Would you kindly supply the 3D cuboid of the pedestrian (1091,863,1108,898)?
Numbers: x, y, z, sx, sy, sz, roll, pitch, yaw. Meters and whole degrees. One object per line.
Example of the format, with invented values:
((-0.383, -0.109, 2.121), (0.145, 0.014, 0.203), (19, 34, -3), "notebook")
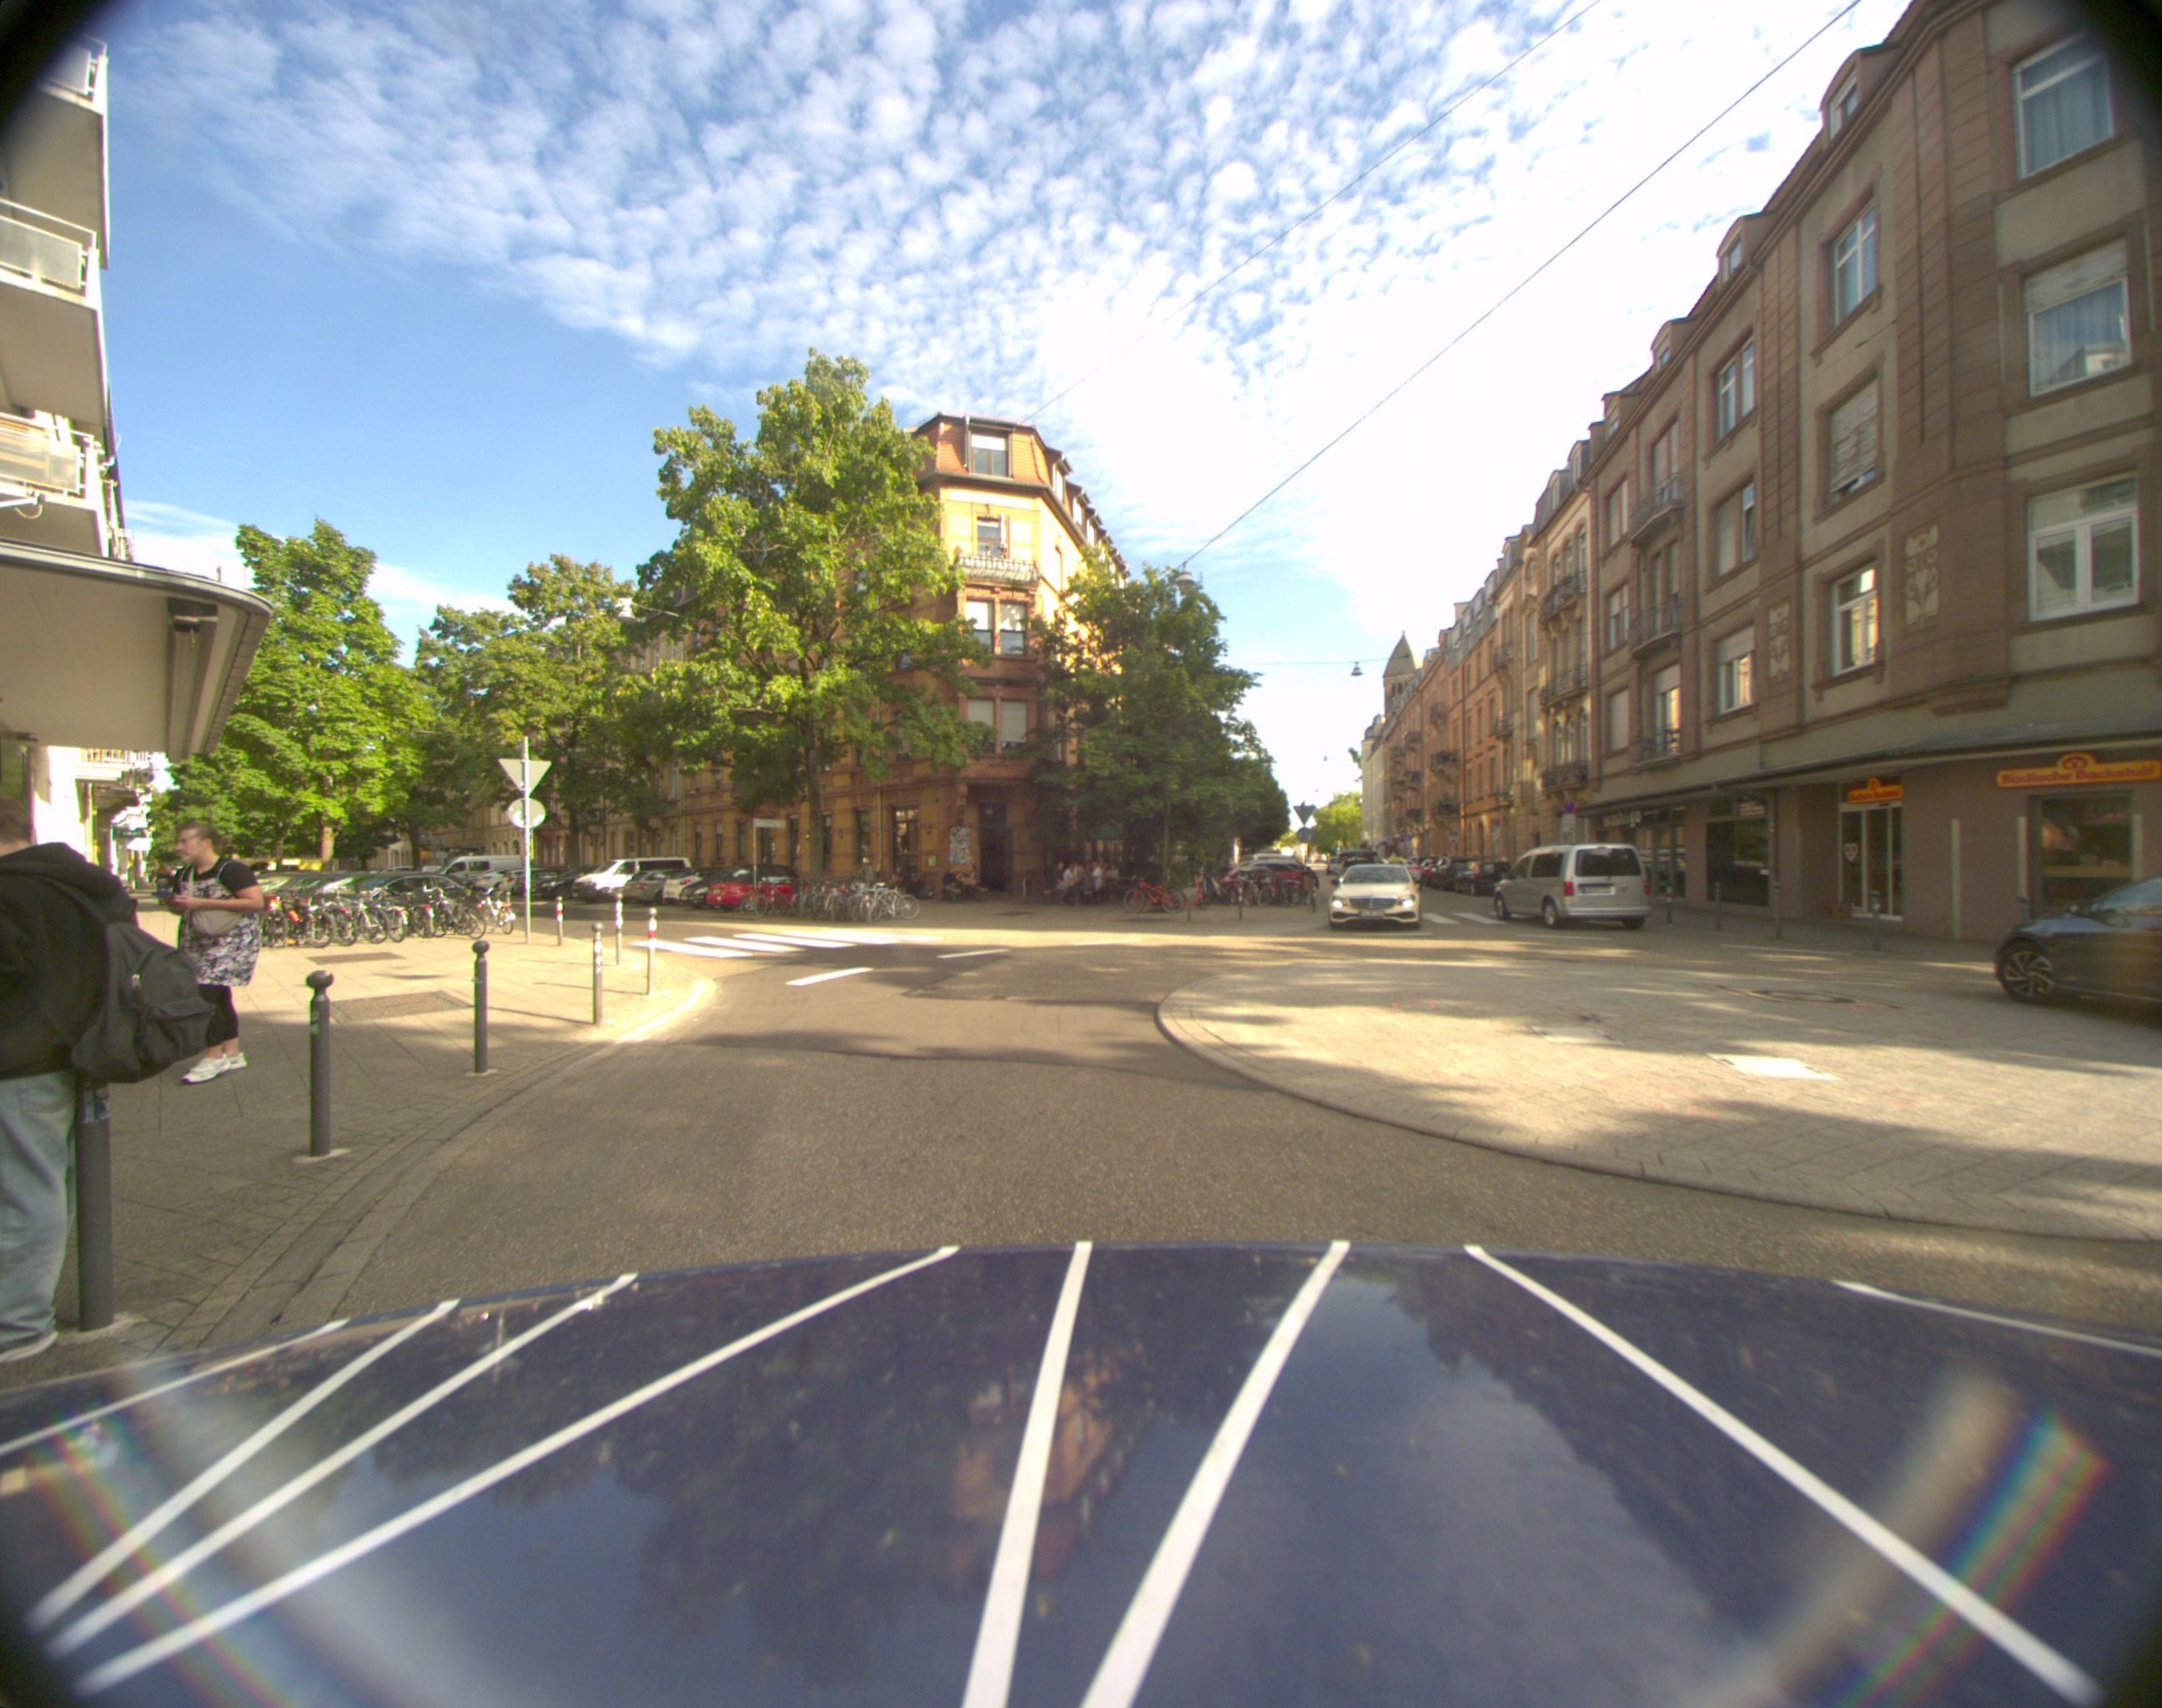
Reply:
((0.674, 0.957, 27.661), (0.548, 1.225, 0.621), (0, 1, -8), "pedestrian")

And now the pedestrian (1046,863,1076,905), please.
((-0.670, 0.978, 25.282), (0.671, 1.371, 0.715), (-1, 1, -40), "pedestrian")

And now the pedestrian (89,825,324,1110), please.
((-5.796, 0.693, 5.096), (0.843, 1.743, 0.612), (0, 0, -25), "pedestrian")

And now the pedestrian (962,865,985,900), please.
((-3.943, 1.038, 27.919), (0.643, 1.252, 0.510), (-3, 3, -42), "pedestrian")

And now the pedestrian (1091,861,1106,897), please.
((0.663, 0.936, 28.595), (0.467, 1.319, 0.621), (0, 1, -8), "pedestrian")

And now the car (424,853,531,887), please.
((-41.485, 1.061, 52.343), (1.994, 2.188, 5.494), (-2, -1, 41), "car")

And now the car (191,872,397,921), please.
((-26.577, 1.377, 25.919), (1.747, 1.486, 4.635), (-1, -1, 13), "car")

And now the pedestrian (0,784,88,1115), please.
((-6.941, 0.572, 4.461), (0.864, 2.001, 1.033), (1, -1, -16), "pedestrian")

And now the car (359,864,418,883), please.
((-67.692, 1.856, 74.320), (1.824, 1.721, 4.008), (-2, -1, 40), "car")

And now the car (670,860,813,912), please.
((-12.428, 1.120, 28.009), (4.320, 1.560, 2.001), (-3, 1, -43), "car")

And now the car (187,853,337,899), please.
((-41.596, 1.119, 38.803), (2.145, 2.207, 4.815), (-1, -1, 9), "car")

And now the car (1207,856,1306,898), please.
((7.085, 0.919, 30.840), (3.587, 1.606, 1.512), (2, 0, -7), "car")

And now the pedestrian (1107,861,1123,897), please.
((1.247, 0.911, 28.123), (0.467, 1.319, 0.621), (0, 1, -8), "pedestrian")

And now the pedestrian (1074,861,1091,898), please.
((0.050, 0.924, 27.554), (0.548, 1.293, 0.621), (0, 1, -8), "pedestrian")

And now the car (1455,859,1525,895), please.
((16.865, 0.929, 31.510), (1.721, 1.360, 3.834), (-2, -1, 16), "car")

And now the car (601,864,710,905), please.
((-18.389, 1.264, 32.930), (1.665, 1.450, 3.714), (0, 3, 42), "car")

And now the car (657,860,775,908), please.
((-14.334, 1.127, 29.951), (1.856, 1.711, 3.716), (-2, -1, 42), "car")

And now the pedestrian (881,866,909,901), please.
((-7.029, 1.107, 28.728), (0.627, 1.278, 0.770), (-1, 2, 39), "pedestrian")

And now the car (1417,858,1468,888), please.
((19.523, 0.980, 41.199), (1.760, 1.487, 4.138), (-2, -1, 15), "car")

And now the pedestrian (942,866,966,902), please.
((-4.584, 1.076, 27.452), (0.643, 1.218, 0.510), (-3, 3, -42), "pedestrian")

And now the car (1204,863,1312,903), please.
((6.568, 1.063, 28.380), (3.588, 1.372, 1.512), (2, 0, -10), "car")

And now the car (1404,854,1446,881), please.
((21.404, 0.817, 47.421), (1.759, 1.588, 4.347), (-2, -1, 16), "car")

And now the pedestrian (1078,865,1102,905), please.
((0.317, 1.014, 25.153), (0.728, 1.307, 0.521), (-2, 0, 4), "pedestrian")

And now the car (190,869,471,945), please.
((-16.365, 1.108, 16.824), (1.806, 1.446, 4.009), (0, -2, 27), "car")

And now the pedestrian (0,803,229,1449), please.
((-3.326, 0.740, 2.307), (0.715, 1.786, 0.631), (3, 0, -19), "pedestrian")

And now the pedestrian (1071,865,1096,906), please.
((0.091, 1.014, 24.650), (0.728, 1.307, 0.521), (-2, 0, 4), "pedestrian")

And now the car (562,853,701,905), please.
((-20.348, 1.059, 34.613), (2.041, 1.978, 4.920), (0, 3, 38), "car")

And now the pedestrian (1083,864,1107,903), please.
((0.477, 0.997, 25.788), (0.728, 1.307, 0.608), (-2, 0, 4), "pedestrian")

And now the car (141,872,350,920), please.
((-28.771, 1.401, 26.425), (1.747, 1.486, 4.635), (-1, -1, 13), "car")

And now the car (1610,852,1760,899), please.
((22.972, 0.814, 29.037), (3.995, 1.611, 2.001), (-2, -1, 7), "car")

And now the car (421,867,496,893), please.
((-47.395, 1.969, 57.878), (1.994, 1.862, 4.135), (-2, -1, 41), "car")

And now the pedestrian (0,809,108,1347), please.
((-3.913, 0.731, 2.544), (0.653, 1.786, 0.660), (3, 0, 29), "pedestrian")

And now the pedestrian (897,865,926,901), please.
((-6.308, 1.080, 28.342), (0.627, 1.278, 0.770), (-1, 2, 39), "pedestrian")

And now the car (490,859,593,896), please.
((-31.489, 1.340, 44.481), (1.931, 1.823, 4.467), (0, 3, 38), "car")

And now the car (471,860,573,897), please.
((-33.539, 1.418, 45.675), (1.931, 1.823, 4.467), (0, 3, 38), "car")

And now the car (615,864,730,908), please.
((-16.539, 1.261, 30.898), (1.665, 1.449, 3.715), (-2, 1, 42), "car")

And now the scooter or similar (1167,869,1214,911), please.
((3.268, 1.058, 22.797), (1.289, 1.203, 0.557), (0, -1, 44), "scooter or similar")

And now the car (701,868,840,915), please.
((-10.529, 1.238, 26.016), (1.563, 1.263, 4.120), (-2, 1, 39), "car")
